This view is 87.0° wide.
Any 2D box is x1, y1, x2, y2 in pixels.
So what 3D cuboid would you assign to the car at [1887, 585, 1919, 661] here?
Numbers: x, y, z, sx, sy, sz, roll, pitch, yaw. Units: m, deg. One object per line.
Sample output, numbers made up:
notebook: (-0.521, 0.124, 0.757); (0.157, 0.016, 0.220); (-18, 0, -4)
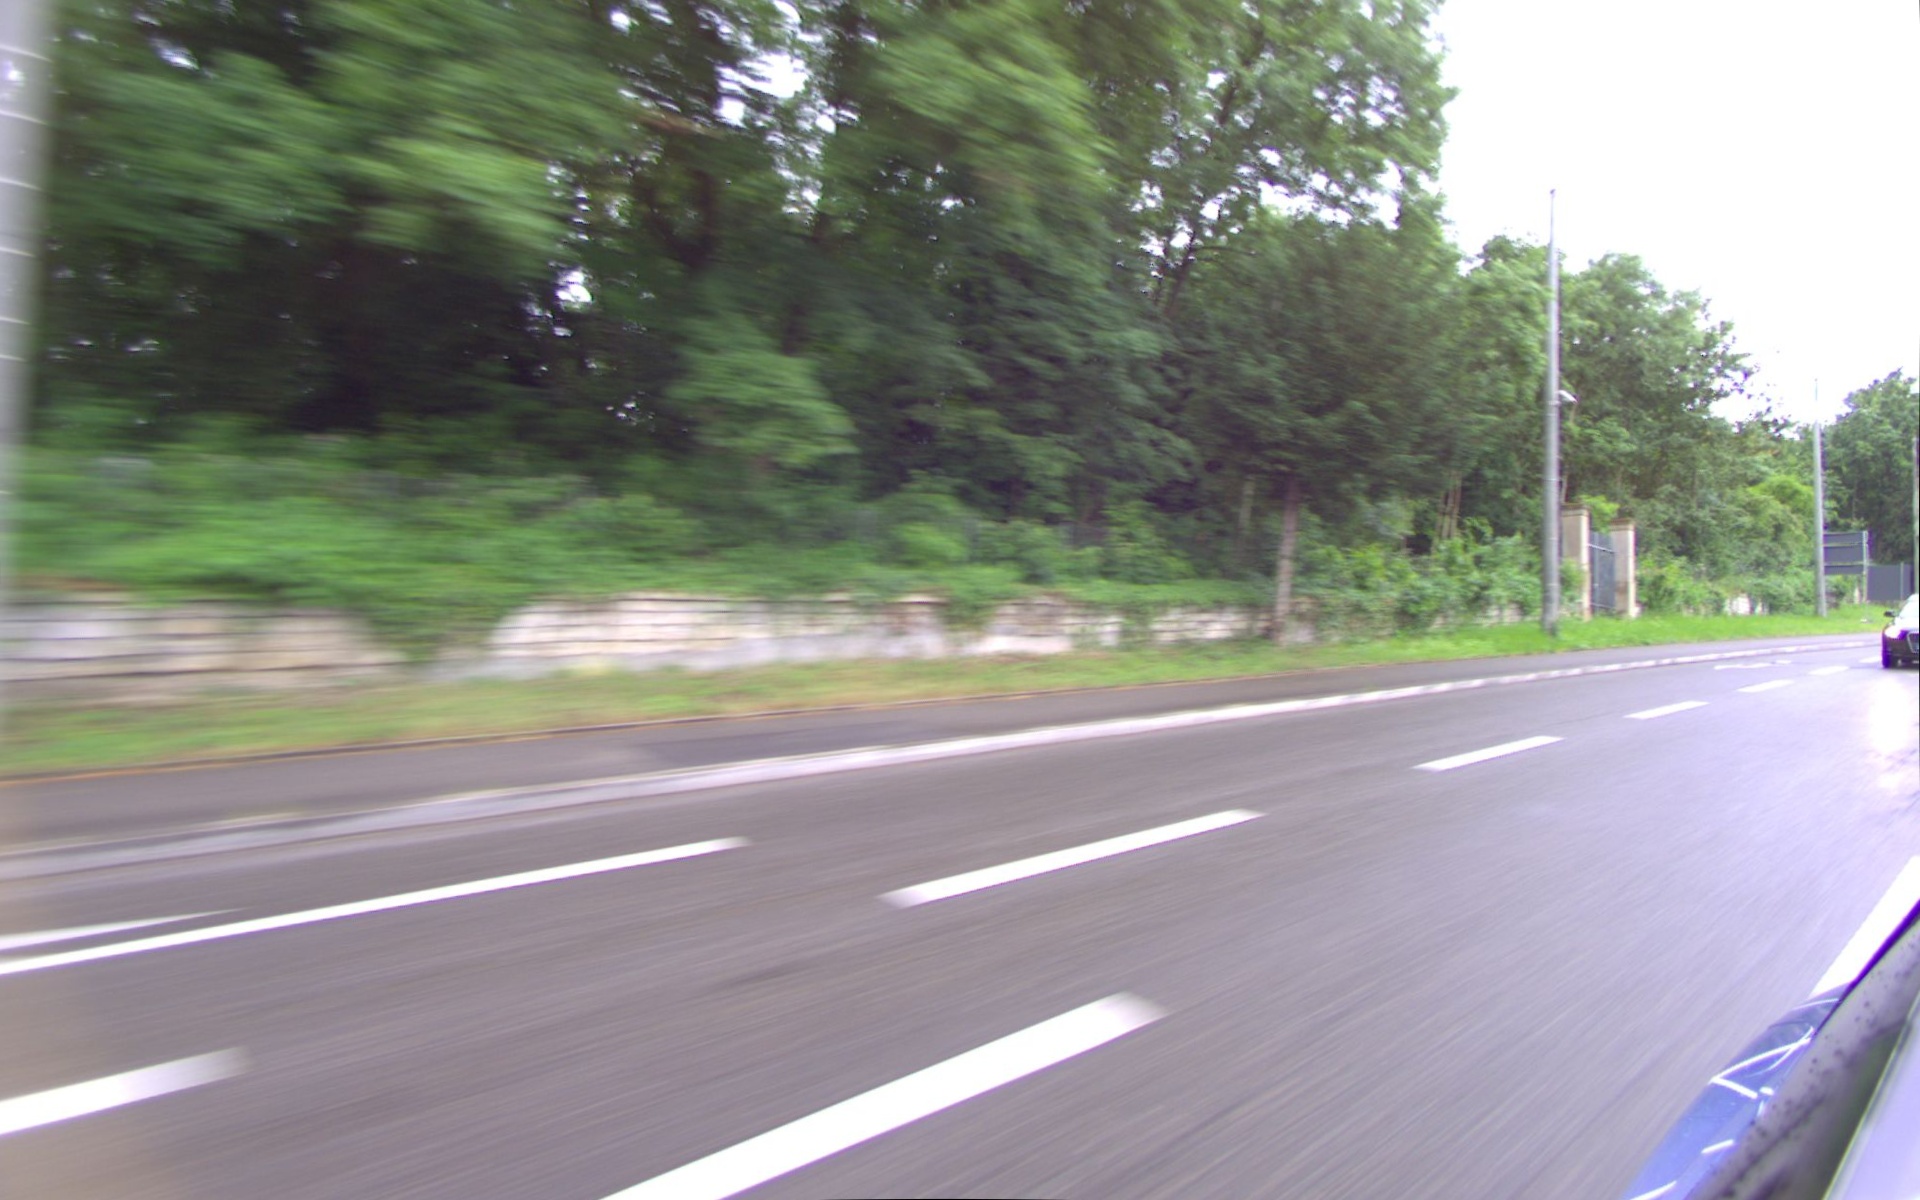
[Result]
car: (21.941, 0.468, 22.185); (3.929, 1.608, 1.855); (-1, 0, -39)
